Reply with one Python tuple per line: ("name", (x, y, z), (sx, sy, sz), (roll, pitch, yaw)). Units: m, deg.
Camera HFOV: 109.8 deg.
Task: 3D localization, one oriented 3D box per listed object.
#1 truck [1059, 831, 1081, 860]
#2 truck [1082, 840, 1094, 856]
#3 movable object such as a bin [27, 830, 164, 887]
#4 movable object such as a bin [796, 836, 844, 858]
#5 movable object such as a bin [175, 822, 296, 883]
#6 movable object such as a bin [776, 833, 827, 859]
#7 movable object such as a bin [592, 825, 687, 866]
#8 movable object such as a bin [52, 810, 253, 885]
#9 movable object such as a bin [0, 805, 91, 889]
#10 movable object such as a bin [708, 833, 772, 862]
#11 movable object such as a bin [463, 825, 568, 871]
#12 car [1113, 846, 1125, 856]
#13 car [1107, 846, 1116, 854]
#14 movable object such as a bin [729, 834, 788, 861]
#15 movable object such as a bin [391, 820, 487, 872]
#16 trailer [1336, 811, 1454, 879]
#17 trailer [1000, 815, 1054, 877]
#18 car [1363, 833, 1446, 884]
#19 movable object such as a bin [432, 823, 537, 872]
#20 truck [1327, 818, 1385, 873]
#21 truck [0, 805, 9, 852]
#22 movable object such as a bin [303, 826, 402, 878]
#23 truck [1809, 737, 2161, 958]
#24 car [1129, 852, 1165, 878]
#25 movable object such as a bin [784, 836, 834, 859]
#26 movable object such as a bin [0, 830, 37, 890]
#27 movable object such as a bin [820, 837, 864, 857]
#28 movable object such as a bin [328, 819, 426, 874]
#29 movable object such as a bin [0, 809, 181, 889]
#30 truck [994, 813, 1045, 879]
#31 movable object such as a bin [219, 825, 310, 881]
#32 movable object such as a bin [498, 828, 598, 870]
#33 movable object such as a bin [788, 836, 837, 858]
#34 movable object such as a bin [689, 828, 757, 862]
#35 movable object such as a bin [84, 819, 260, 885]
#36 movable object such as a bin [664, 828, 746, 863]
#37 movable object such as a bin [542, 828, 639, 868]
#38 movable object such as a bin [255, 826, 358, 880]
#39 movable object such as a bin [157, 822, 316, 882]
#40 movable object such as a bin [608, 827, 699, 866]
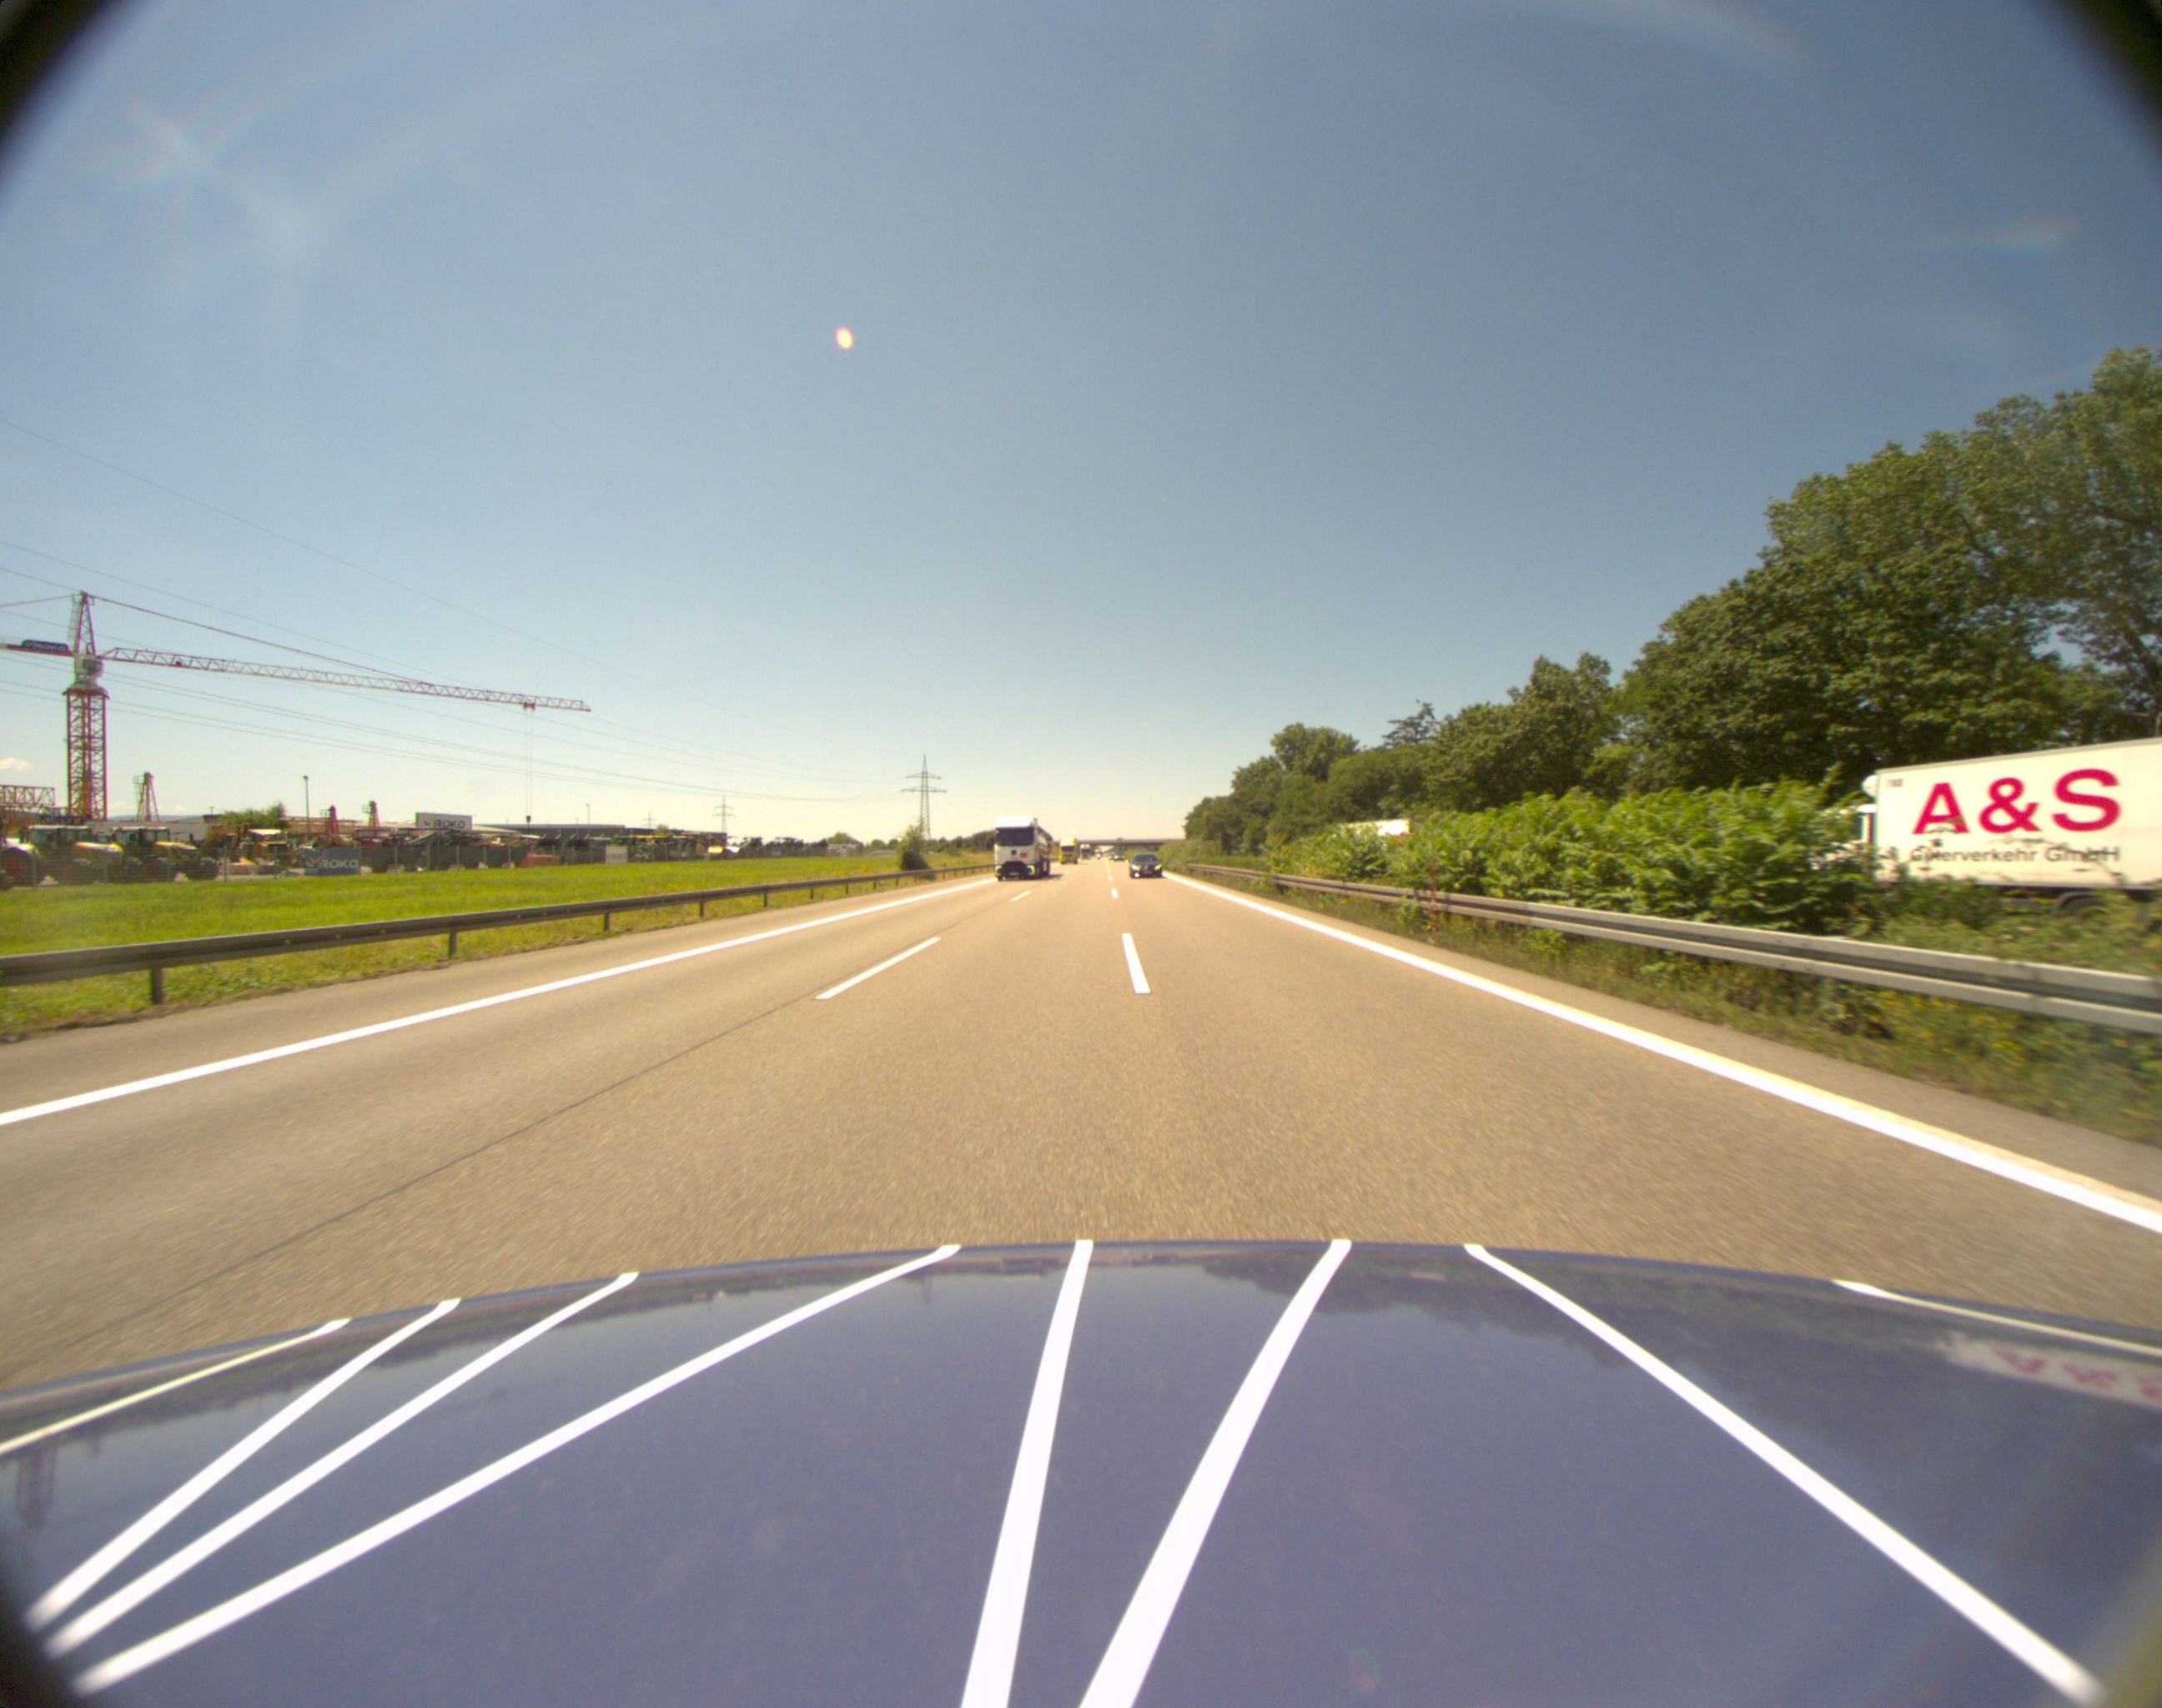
("truck", (-1.606, -1.317, 118.650), (2.977, 4.240, 12.610), (0, 1, 1))
("truck", (1.933, -1.794, 208.848), (2.977, 4.240, 12.610), (0, 1, 1))
("movable object such as a bin", (-74.853, 0.353, 57.723), (8.476, 3.941, 3.296), (-2, 1, 16))
("movable object such as a bin", (-50.898, -1.339, 148.148), (8.112, 3.916, 2.881), (-2, 1, 3))
("movable object such as a bin", (-72.064, -0.111, 64.792), (8.476, 4.777, 3.296), (-2, 1, 16))
("movable object such as a bin", (-50.631, -1.484, 137.678), (8.112, 4.349, 2.881), (-2, 1, 3))
("movable object such as a bin", (-52.996, -0.995, 91.416), (9.377, 4.486, 3.437), (-2, 1, 3))
("movable object such as a bin", (-54.362, -0.358, 44.626), (8.112, 3.928, 3.137), (-2, 1, 3))
("movable object such as a bin", (-54.375, -0.195, 37.114), (8.112, 3.928, 3.137), (-2, 1, 3))
("movable object such as a bin", (-51.097, -0.997, 113.875), (8.112, 3.883, 2.881), (-2, 1, 3))
("movable object such as a bin", (-54.953, -0.520, 73.841), (9.366, 4.029, 3.441), (-2, 1, 19))
("car", (6.504, -0.502, 130.295), (1.861, 1.696, 4.000), (0, 1, 1))
("car", (6.736, -0.910, 165.985), (1.861, 1.696, 4.000), (0, 1, 1))
("movable object such as a bin", (-51.731, -1.056, 122.070), (8.112, 3.883, 2.881), (-2, 1, 3))
("movable object such as a bin", (-54.569, -0.648, 64.499), (9.361, 4.029, 3.442), (-2, 1, 33))
("trailer", (21.276, -0.597, 52.854), (2.543, 4.067, 14.245), (1, 1, 1))
("trailer", (-3.651, -0.578, 54.967), (2.573, 3.871, 13.279), (-2, 1, 1))
("car", (16.488, 0.179, 39.026), (2.129, 2.452, 5.085), (0, 1, 1))
("movable object such as a bin", (-54.324, -0.525, 69.142), (9.364, 4.029, 3.441), (-2, 1, 24))
("truck", (21.434, -0.678, 59.558), (2.490, 4.067, 5.861), (1, 1, 1))
("truck", (-82.877, -1.900, 53.899), (8.175, 3.392, 2.834), (0, 1, -11))
("movable object such as a bin", (-72.552, -0.165, 75.679), (9.584, 4.716, 3.143), (-2, 1, 21))
("truck", (20.100, -0.131, 14.880), (2.933, 3.806, 9.275), (0, 1, 2))
("car", (3.910, 0.625, 45.554), (1.807, 1.385, 4.000), (-2, 1, 1))
("movable object such as a bin", (-50.538, -1.287, 141.211), (8.112, 3.916, 2.881), (-2, 1, 3))
("movable object such as a bin", (-74.469, 0.541, 50.407), (8.476, 3.941, 3.296), (-2, 1, 16))
("movable object such as a bin", (-50.014, -1.478, 158.926), (8.112, 3.916, 2.881), (-2, 1, 3))
("movable object such as a bin", (-56.761, -0.551, 61.161), (9.361, 4.029, 3.442), (-2, 1, 33))
("movable object such as a bin", (-54.358, -0.233, 40.929), (8.112, 3.928, 3.137), (-2, 1, 3))
("truck", (-3.809, -0.509, 48.380), (2.573, 3.871, 5.723), (-2, 1, 1))
("movable object such as a bin", (-73.917, -0.045, 68.819), (7.142, 4.716, 2.718), (-2, 1, 19))
("movable object such as a bin", (-56.708, -0.504, 80.921), (9.368, 4.029, 3.440), (-2, 1, 16))
("movable object such as a bin", (-51.024, -1.300, 144.569), (8.112, 3.883, 2.881), (-2, 1, 3))
("movable object such as a bin", (-51.310, -1.231, 109.023), (8.112, 4.486, 3.351), (-2, 1, 3))
("movable object such as a bin", (-60.416, -0.118, 50.643), (8.112, 3.928, 3.137), (-2, 1, 3))
("movable object such as a bin", (-51.721, -1.173, 104.676), (9.377, 4.486, 3.437), (-2, 1, 3))
("movable object such as a bin", (-55.316, -0.667, 85.715), (9.370, 4.029, 3.439), (-2, 1, 13))
("movable object such as a bin", (-73.755, -0.086, 72.351), (9.584, 4.716, 3.143), (-2, 1, 21))
("movable object such as a bin", (-60.932, -0.139, 54.949), (8.112, 3.928, 3.137), (-2, 1, 3))
("movable object such as a bin", (-54.134, -0.998, 96.383), (9.377, 4.486, 3.437), (-2, 1, 3))
